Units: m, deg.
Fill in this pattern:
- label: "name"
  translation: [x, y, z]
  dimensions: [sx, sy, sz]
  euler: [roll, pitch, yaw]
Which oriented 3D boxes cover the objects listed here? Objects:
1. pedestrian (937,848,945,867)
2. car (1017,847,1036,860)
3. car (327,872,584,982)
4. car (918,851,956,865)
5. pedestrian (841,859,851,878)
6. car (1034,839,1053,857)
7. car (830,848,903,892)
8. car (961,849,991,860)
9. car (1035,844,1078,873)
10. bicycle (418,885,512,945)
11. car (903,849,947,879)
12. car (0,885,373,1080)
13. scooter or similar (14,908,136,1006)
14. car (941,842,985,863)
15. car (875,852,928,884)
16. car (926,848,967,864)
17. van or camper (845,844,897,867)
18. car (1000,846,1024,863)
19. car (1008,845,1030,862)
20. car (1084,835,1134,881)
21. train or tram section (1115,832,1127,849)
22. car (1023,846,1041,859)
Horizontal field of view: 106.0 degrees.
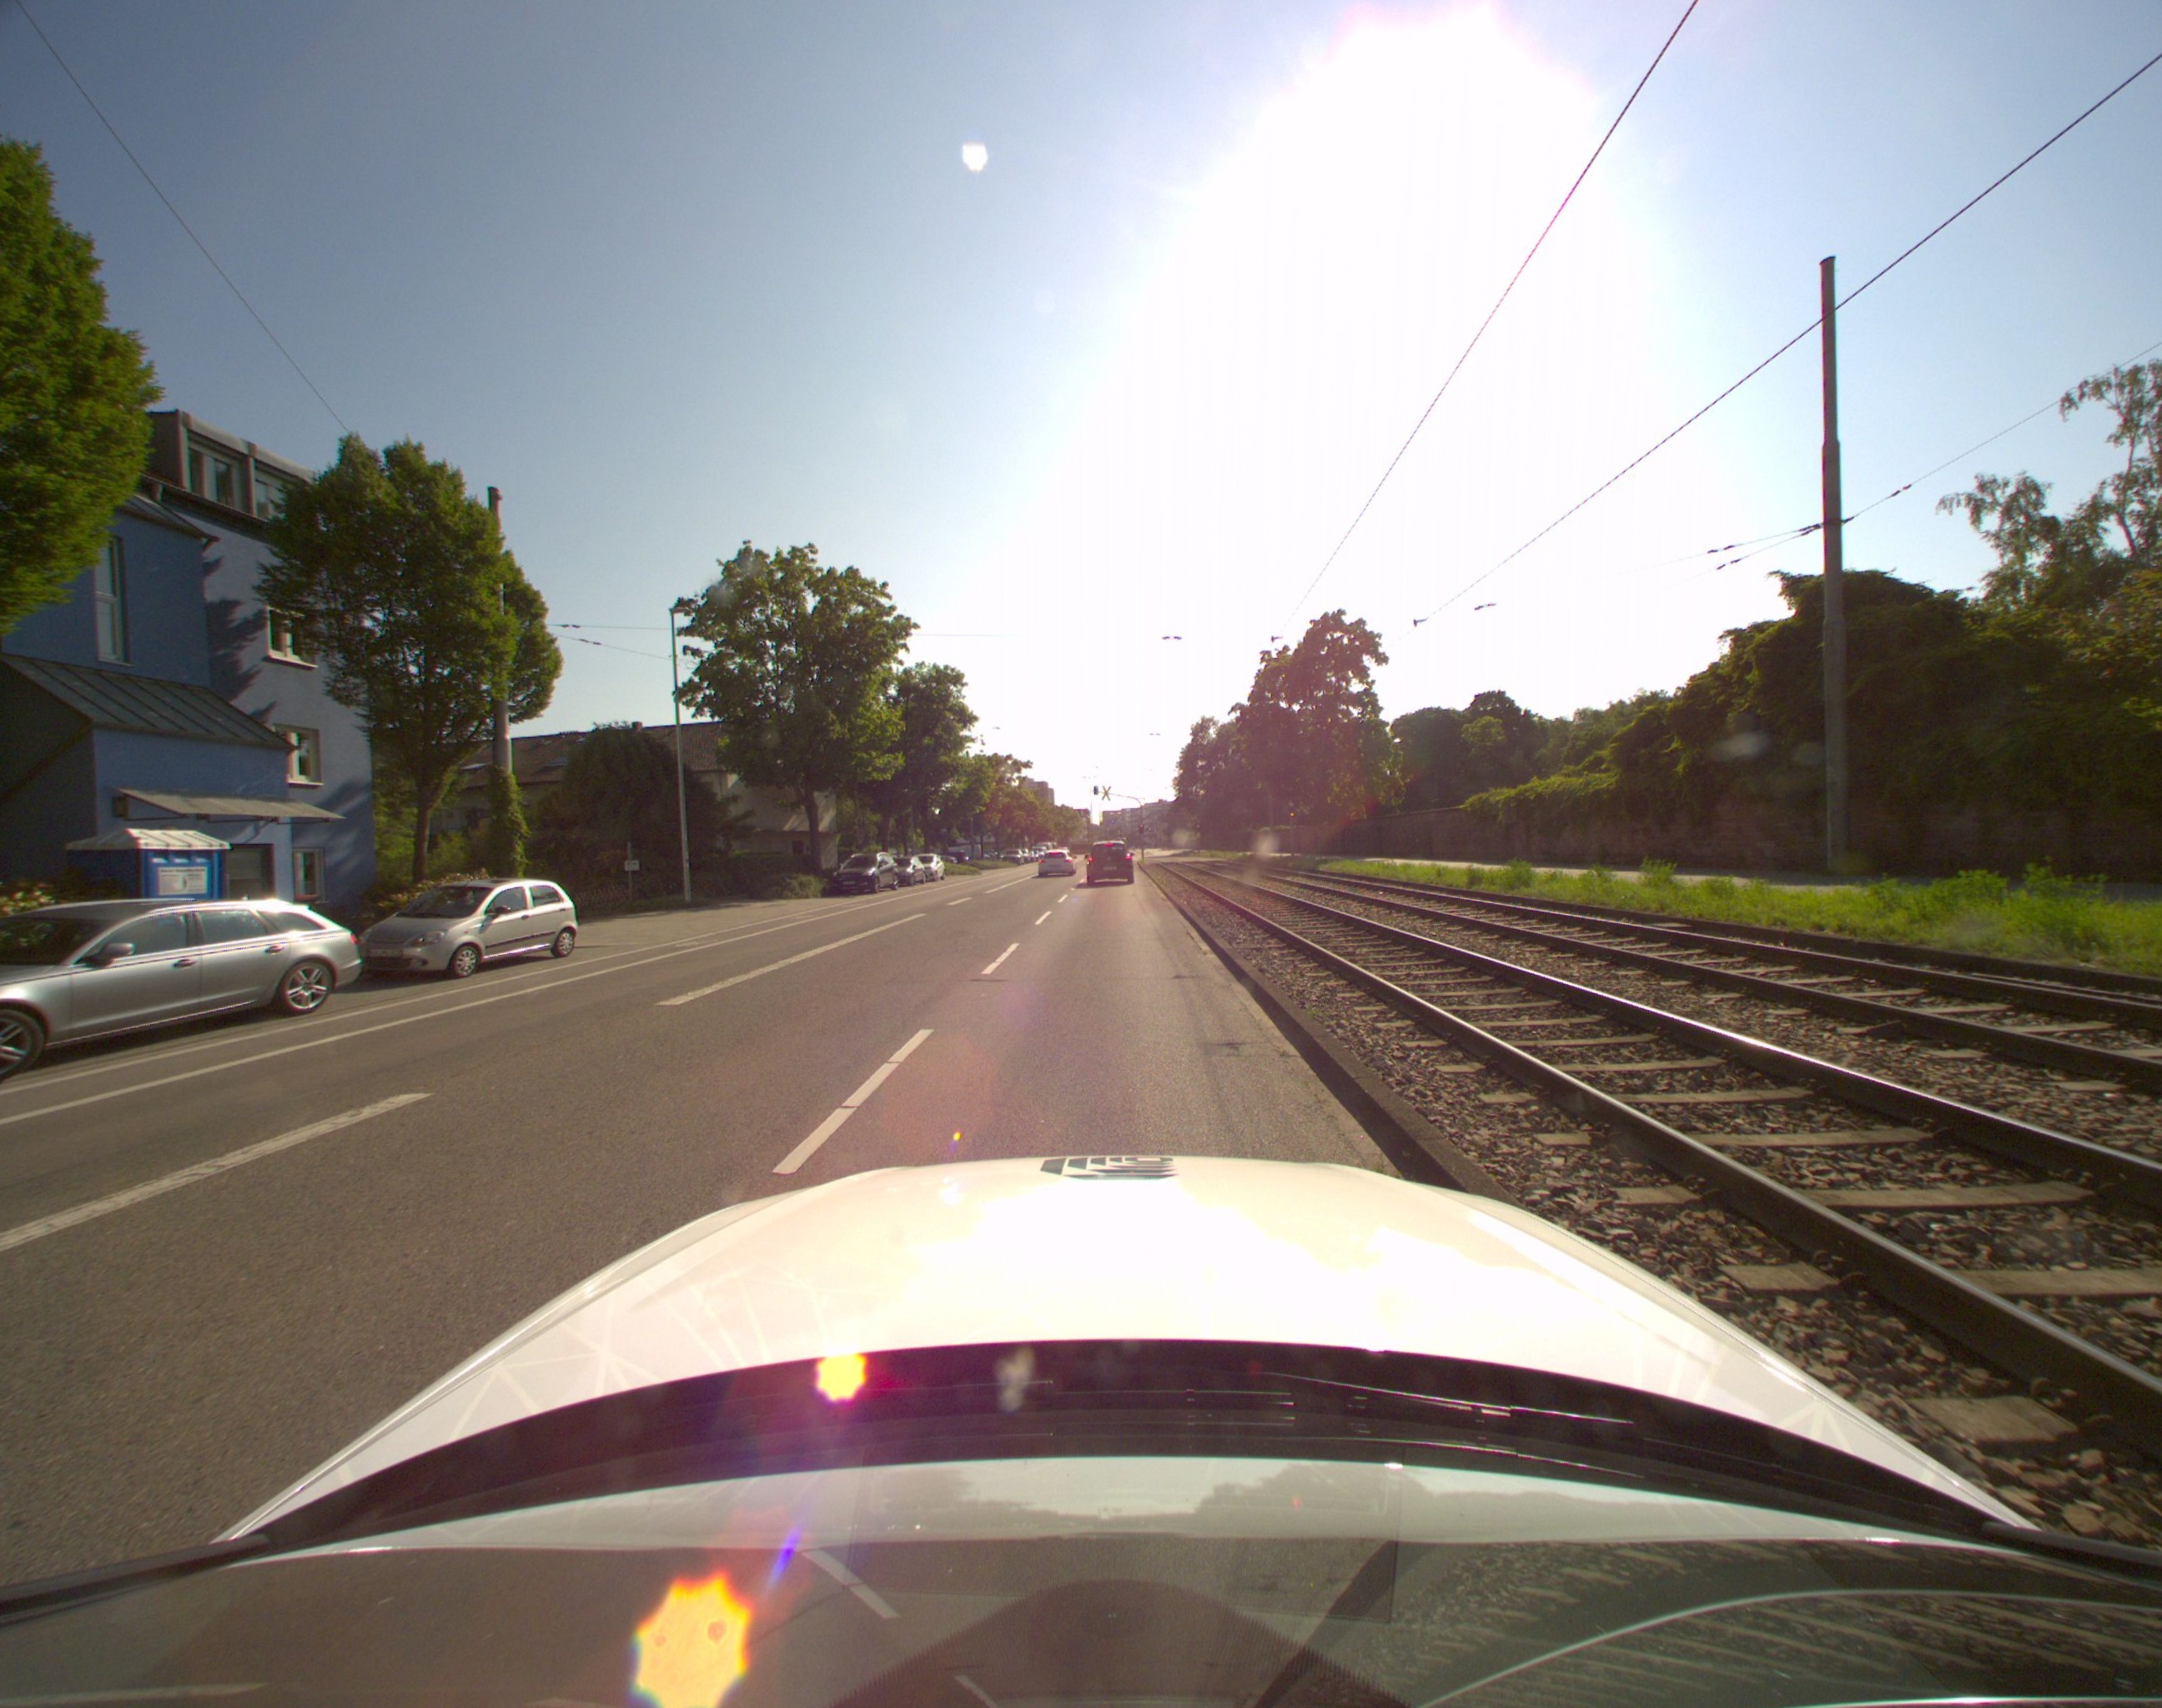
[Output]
- label: "pedestrian"
  translation: [-12.383, 0.298, 72.069]
  dimensions: [0.522, 1.628, 0.610]
  euler: [-3, 0, 3]
- label: "car"
  translation: [-6.419, -0.049, 96.247]
  dimensions: [1.724, 1.389, 3.740]
  euler: [-3, 1, 4]
- label: "car"
  translation: [-10.541, 1.147, 14.076]
  dimensions: [1.595, 1.494, 3.511]
  euler: [1, 1, 2]
- label: "car"
  translation: [-16.626, 0.444, 94.352]
  dimensions: [3.975, 1.397, 1.737]
  euler: [-3, 1, -1]
- label: "pedestrian"
  translation: [-15.551, 0.944, 53.876]
  dimensions: [0.442, 1.217, 0.392]
  euler: [-3, 0, 10]
- label: "car"
  translation: [-5.229, -0.877, 114.099]
  dimensions: [1.855, 2.347, 4.991]
  euler: [-3, 1, 4]
- label: "car"
  translation: [-9.282, 0.645, 35.651]
  dimensions: [1.705, 1.694, 4.426]
  euler: [-3, 1, 3]
- label: "car"
  translation: [-15.248, 0.097, 118.607]
  dimensions: [3.975, 1.397, 1.737]
  euler: [-3, 1, -1]
- label: "car"
  translation: [-1.244, 0.214, 43.273]
  dimensions: [1.857, 1.348, 4.004]
  euler: [-2, 1, 3]
- label: "bicycle"
  translation: [-13.434, 1.310, 17.819]
  dimensions: [0.440, 1.154, 1.789]
  euler: [-3, 0, 10]
- label: "car"
  translation: [-8.933, 0.541, 46.908]
  dimensions: [1.594, 1.550, 3.896]
  euler: [-1, 1, 2]
- label: "car"
  translation: [-10.576, 1.238, 8.749]
  dimensions: [1.743, 1.510, 4.755]
  euler: [1, 1, 0]
- label: "scooter or similar"
  translation: [-13.470, 1.352, 10.934]
  dimensions: [0.293, 1.153, 1.042]
  euler: [-3, 1, -1]
- label: "car"
  translation: [-15.598, -0.261, 107.720]
  dimensions: [5.353, 2.423, 2.089]
  euler: [-3, 1, 3]
- label: "car"
  translation: [-9.083, 0.677, 41.449]
  dimensions: [1.671, 1.468, 3.969]
  euler: [-3, 1, 1]
- label: "car"
  translation: [-16.445, 0.250, 99.702]
  dimensions: [4.602, 1.651, 2.050]
  euler: [-3, 1, 1]
- label: "van or camper"
  translation: [-29.083, 0.185, 112.977]
  dimensions: [6.436, 2.868, 2.310]
  euler: [-3, 0, 3]
- label: "car"
  translation: [-7.114, 0.034, 84.279]
  dimensions: [1.724, 1.657, 4.005]
  euler: [-3, 1, 4]
- label: "car"
  translation: [-6.822, -0.096, 89.944]
  dimensions: [1.724, 1.694, 4.005]
  euler: [-3, 1, 4]
- label: "car"
  translation: [1.145, 0.121, 32.258]
  dimensions: [1.804, 1.644, 4.004]
  euler: [-2, 0, 3]
- label: "train or tram section"
  translation: [8.812, -2.989, 177.692]
  dimensions: [2.317, 3.569, 8.908]
  euler: [-3, 1, 3]
- label: "car"
  translation: [-6.093, -0.153, 102.127]
  dimensions: [1.724, 1.450, 3.740]
  euler: [-3, 1, 4]
